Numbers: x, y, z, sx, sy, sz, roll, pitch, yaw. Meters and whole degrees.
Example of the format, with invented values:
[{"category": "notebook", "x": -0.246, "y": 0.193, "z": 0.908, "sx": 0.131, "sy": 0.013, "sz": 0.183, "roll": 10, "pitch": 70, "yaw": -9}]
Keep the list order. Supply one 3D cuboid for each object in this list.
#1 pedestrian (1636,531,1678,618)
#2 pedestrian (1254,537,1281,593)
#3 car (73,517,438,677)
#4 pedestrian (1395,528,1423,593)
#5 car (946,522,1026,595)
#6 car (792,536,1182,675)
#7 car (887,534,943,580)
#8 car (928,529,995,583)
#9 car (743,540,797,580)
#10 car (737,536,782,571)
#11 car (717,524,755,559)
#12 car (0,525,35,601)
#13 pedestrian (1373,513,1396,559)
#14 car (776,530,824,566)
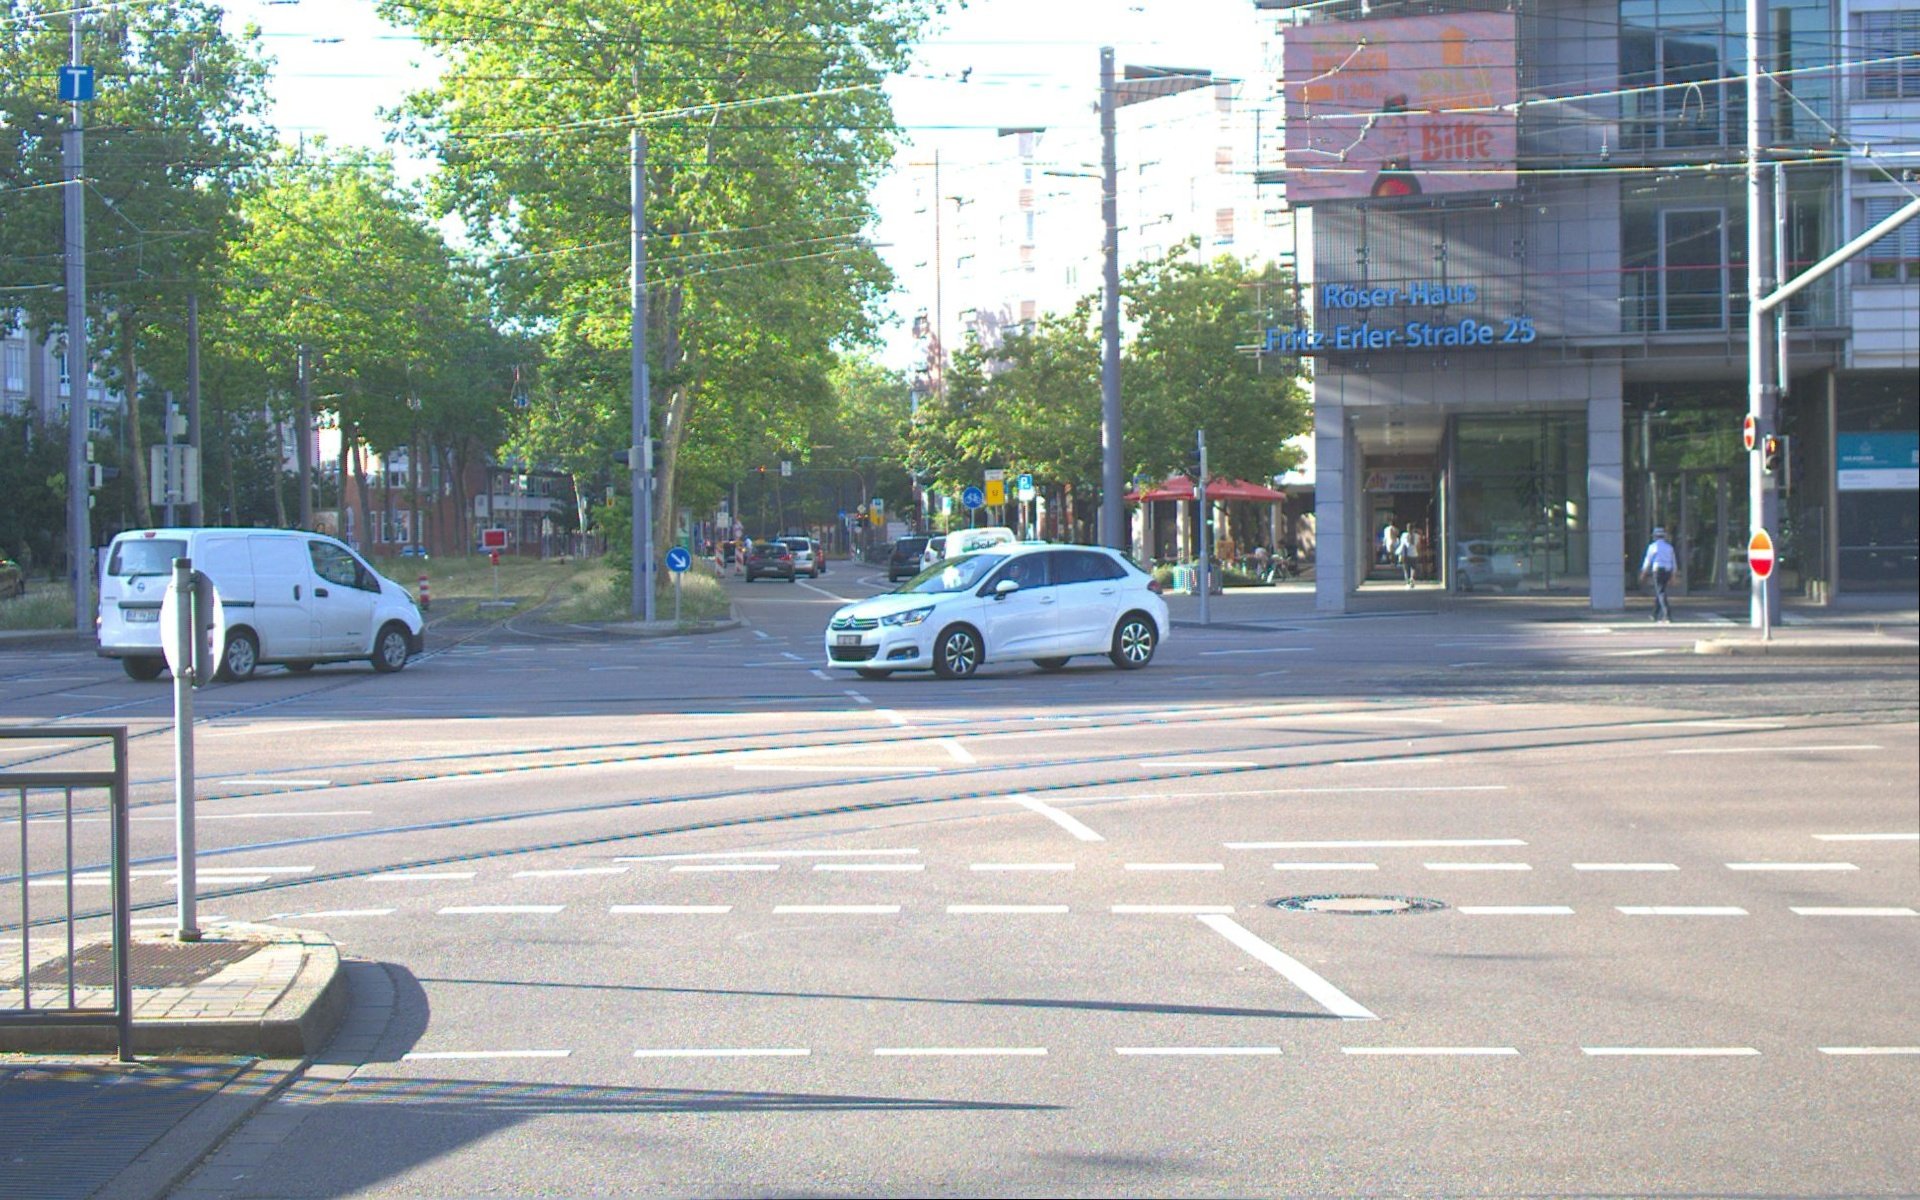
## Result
[{"category": "pedestrian", "x": 12.064, "y": -0.444, "z": 59.491, "sx": 0.612, "sy": 1.502, "sz": 0.579, "roll": -1, "pitch": 1, "yaw": 3}, {"category": "pedestrian", "x": 9.397, "y": -1.067, "z": 104.932, "sx": 0.744, "sy": 1.708, "sz": 0.612, "roll": -1, "pitch": 1, "yaw": -1}, {"category": "car", "x": -8.643, "y": -0.081, "z": 42.563, "sx": 1.759, "sy": 1.860, "sz": 4.517, "roll": 0, "pitch": 1, "yaw": 32}, {"category": "pedestrian", "x": 10.463, "y": -0.922, "z": 80.149, "sx": 0.612, "sy": 1.502, "sz": 0.579, "roll": -1, "pitch": 1, "yaw": 7}, {"category": "car", "x": 0.650, "y": -1.096, "z": 89.571, "sx": 1.993, "sy": 1.853, "sz": 4.000, "roll": -1, "pitch": 1, "yaw": -1}, {"category": "car", "x": 0.343, "y": 0.034, "z": 39.920, "sx": 4.296, "sy": 1.483, "sz": 1.761, "roll": -2, "pitch": 1, "yaw": -35}, {"category": "car", "x": -1.638, "y": -1.597, "z": 126.667, "sx": 1.993, "sy": 1.612, "sz": 4.000, "roll": -1, "pitch": 1, "yaw": 0}, {"category": "car", "x": 0.039, "y": -1.359, "z": 105.216, "sx": 1.993, "sy": 1.612, "sz": 4.000, "roll": -1, "pitch": 1, "yaw": 0}, {"category": "car", "x": -6.953, "y": -1.484, "z": 126.209, "sx": 1.797, "sy": 1.437, "sz": 4.000, "roll": -1, "pitch": 1, "yaw": -1}, {"category": "car", "x": -8.573, "y": -1.971, "z": 147.179, "sx": 1.797, "sy": 1.437, "sz": 4.000, "roll": 1, "pitch": 1, "yaw": -2}, {"category": "car", "x": -13.102, "y": -3.412, "z": 201.474, "sx": 1.993, "sy": 2.007, "sz": 4.000, "roll": -1, "pitch": 1, "yaw": -1}, {"category": "car", "x": -21.664, "y": -0.806, "z": 74.925, "sx": 1.993, "sy": 1.634, "sz": 4.000, "roll": -1, "pitch": 1, "yaw": -1}, {"category": "pedestrian", "x": 15.758, "y": -2.366, "z": 127.629, "sx": 0.744, "sy": 1.708, "sz": 0.612, "roll": -1, "pitch": 1, "yaw": -1}, {"category": "car", "x": -6.466, "y": -2.113, "z": 139.168, "sx": 1.797, "sy": 1.437, "sz": 4.000, "roll": -1, "pitch": 1, "yaw": -1}]
